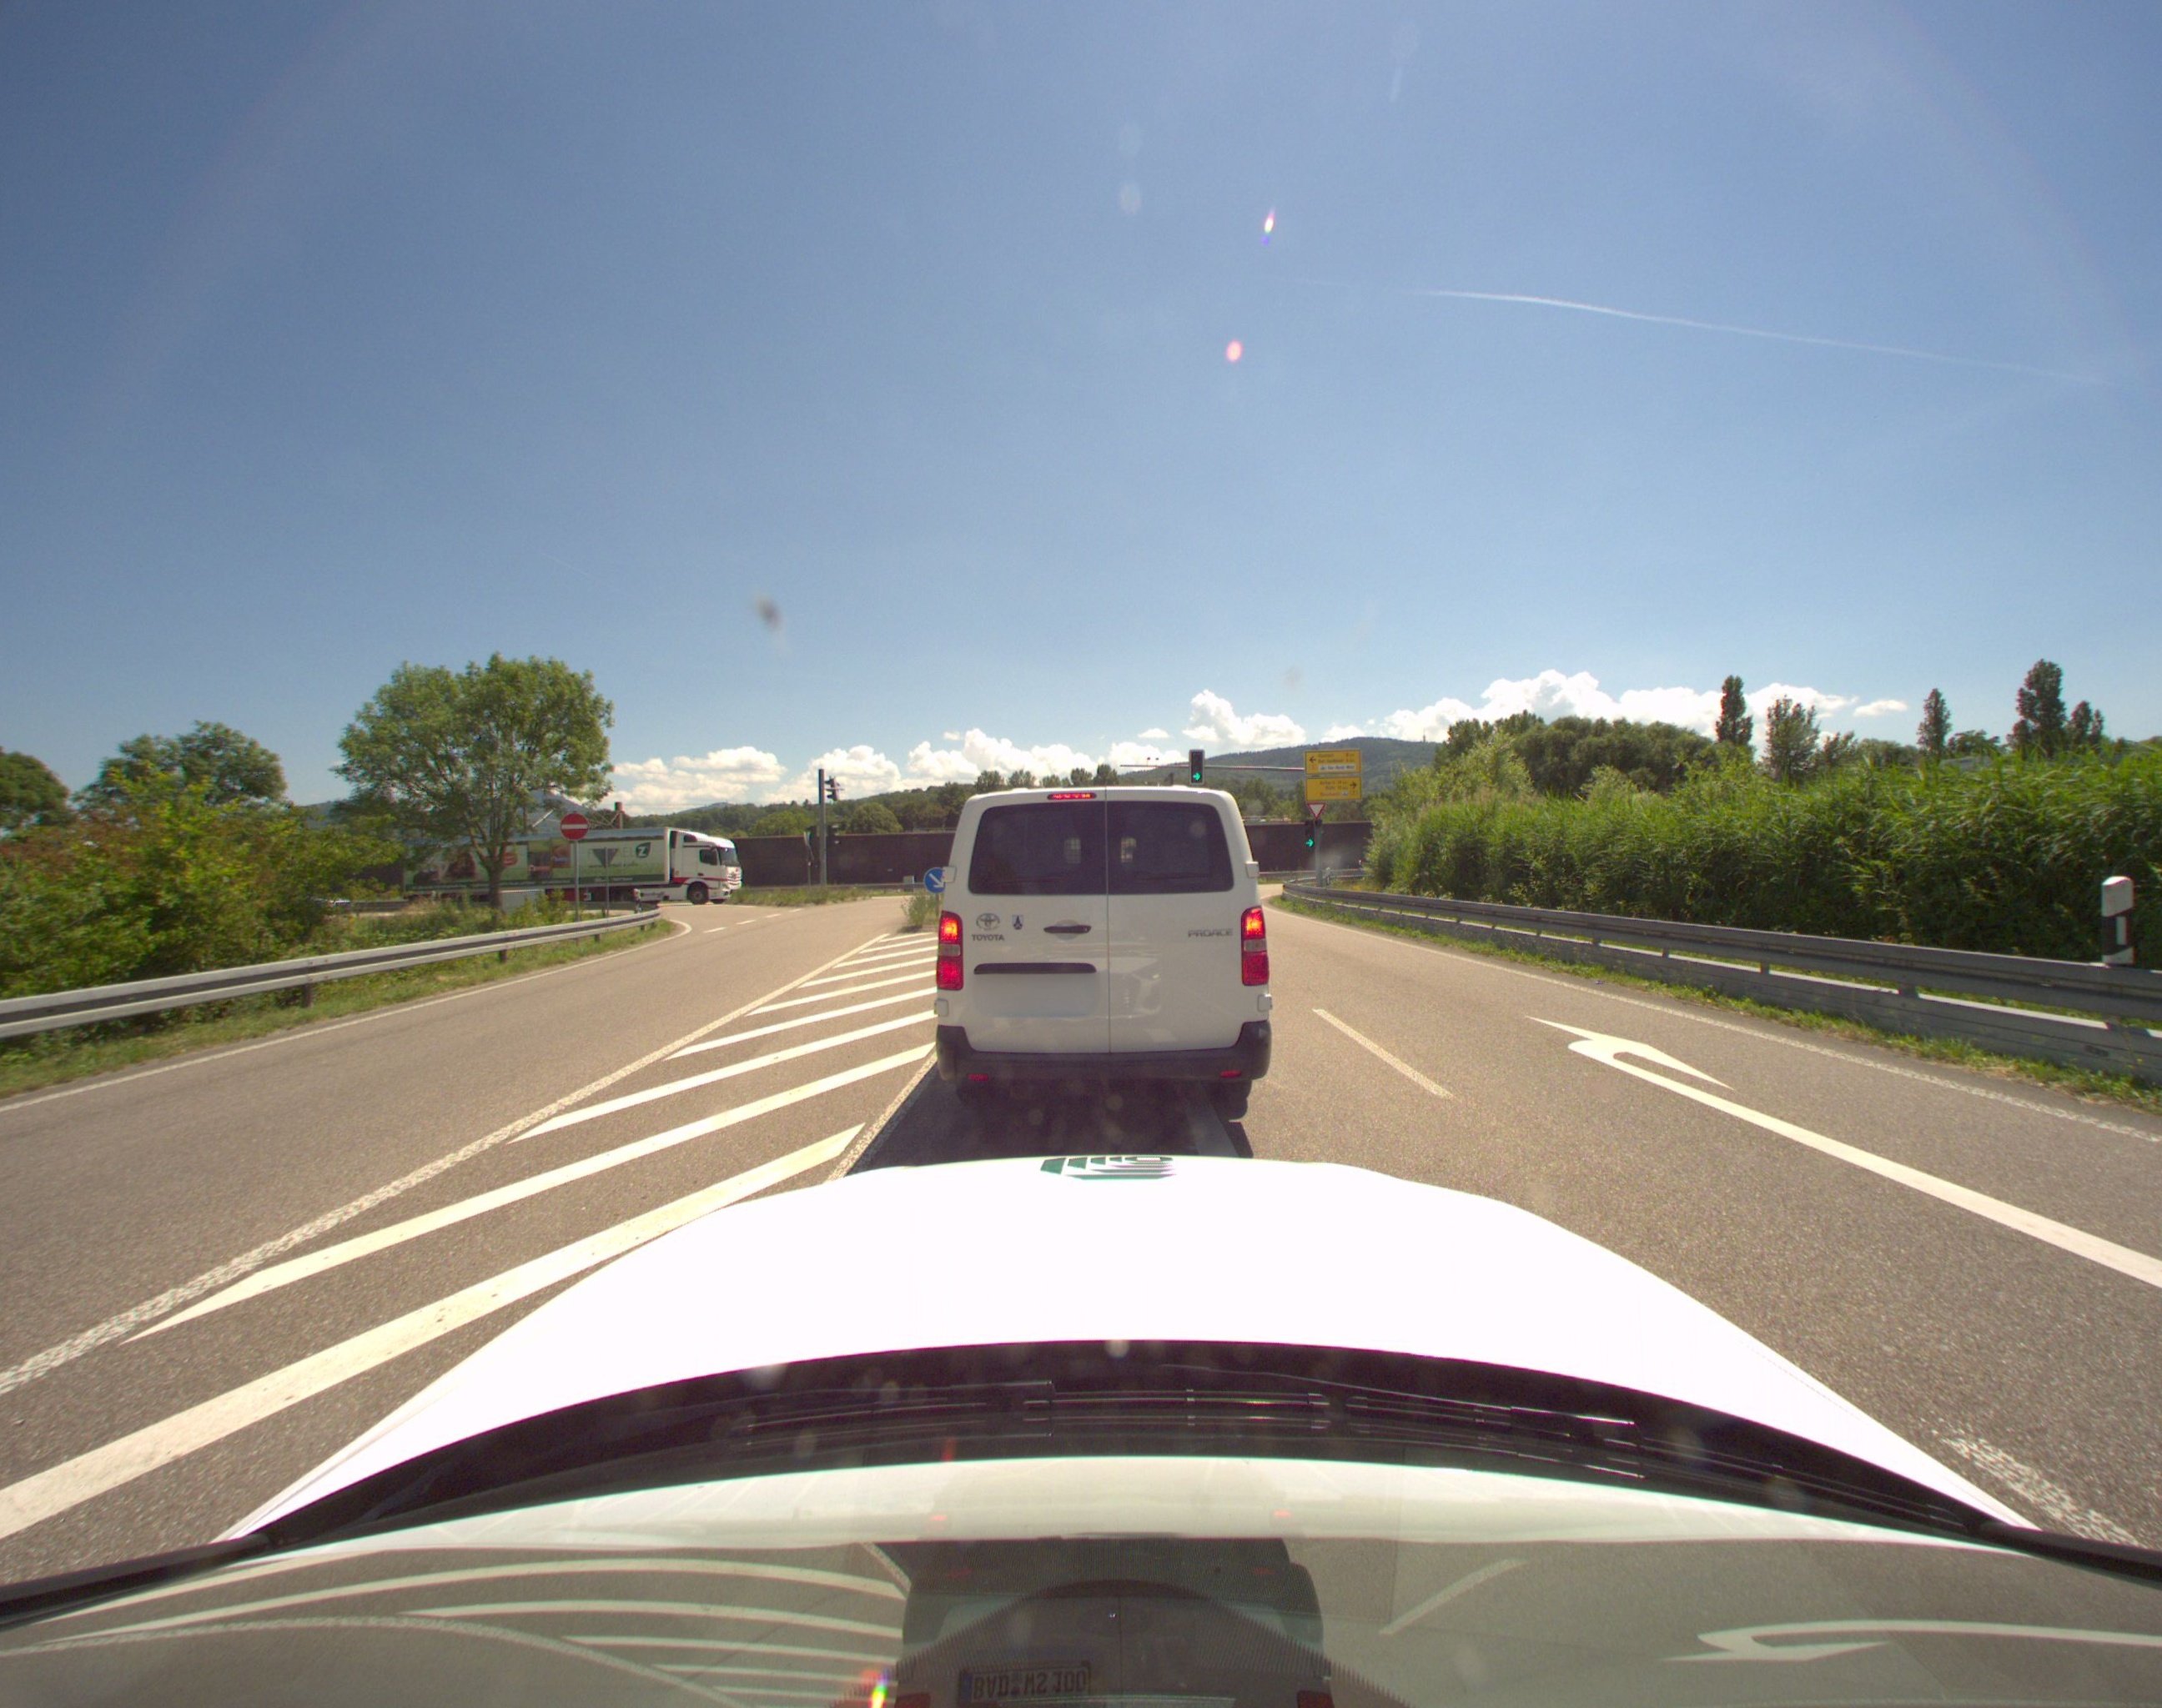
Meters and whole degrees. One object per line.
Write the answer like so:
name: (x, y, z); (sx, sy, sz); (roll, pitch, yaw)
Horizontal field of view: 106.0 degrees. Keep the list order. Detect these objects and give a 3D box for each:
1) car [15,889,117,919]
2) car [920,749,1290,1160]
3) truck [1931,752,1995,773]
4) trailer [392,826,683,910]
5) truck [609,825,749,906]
car: (-53.916, 2.635, 43.299); (3.462, 1.464, 1.554); (-1, -1, 0)
car: (0.174, 0.518, 6.064); (1.808, 2.017, 4.001); (-1, -1, 2)
truck: (132.514, -13.763, 122.474); (2.609, 2.228, 6.666); (-1, -1, 2)
trailer: (-28.234, 0.729, 42.735); (13.098, 3.954, 3.061); (-1, -1, 0)
truck: (-20.976, 0.592, 42.793); (5.746, 3.954, 3.062); (-1, -1, 0)
